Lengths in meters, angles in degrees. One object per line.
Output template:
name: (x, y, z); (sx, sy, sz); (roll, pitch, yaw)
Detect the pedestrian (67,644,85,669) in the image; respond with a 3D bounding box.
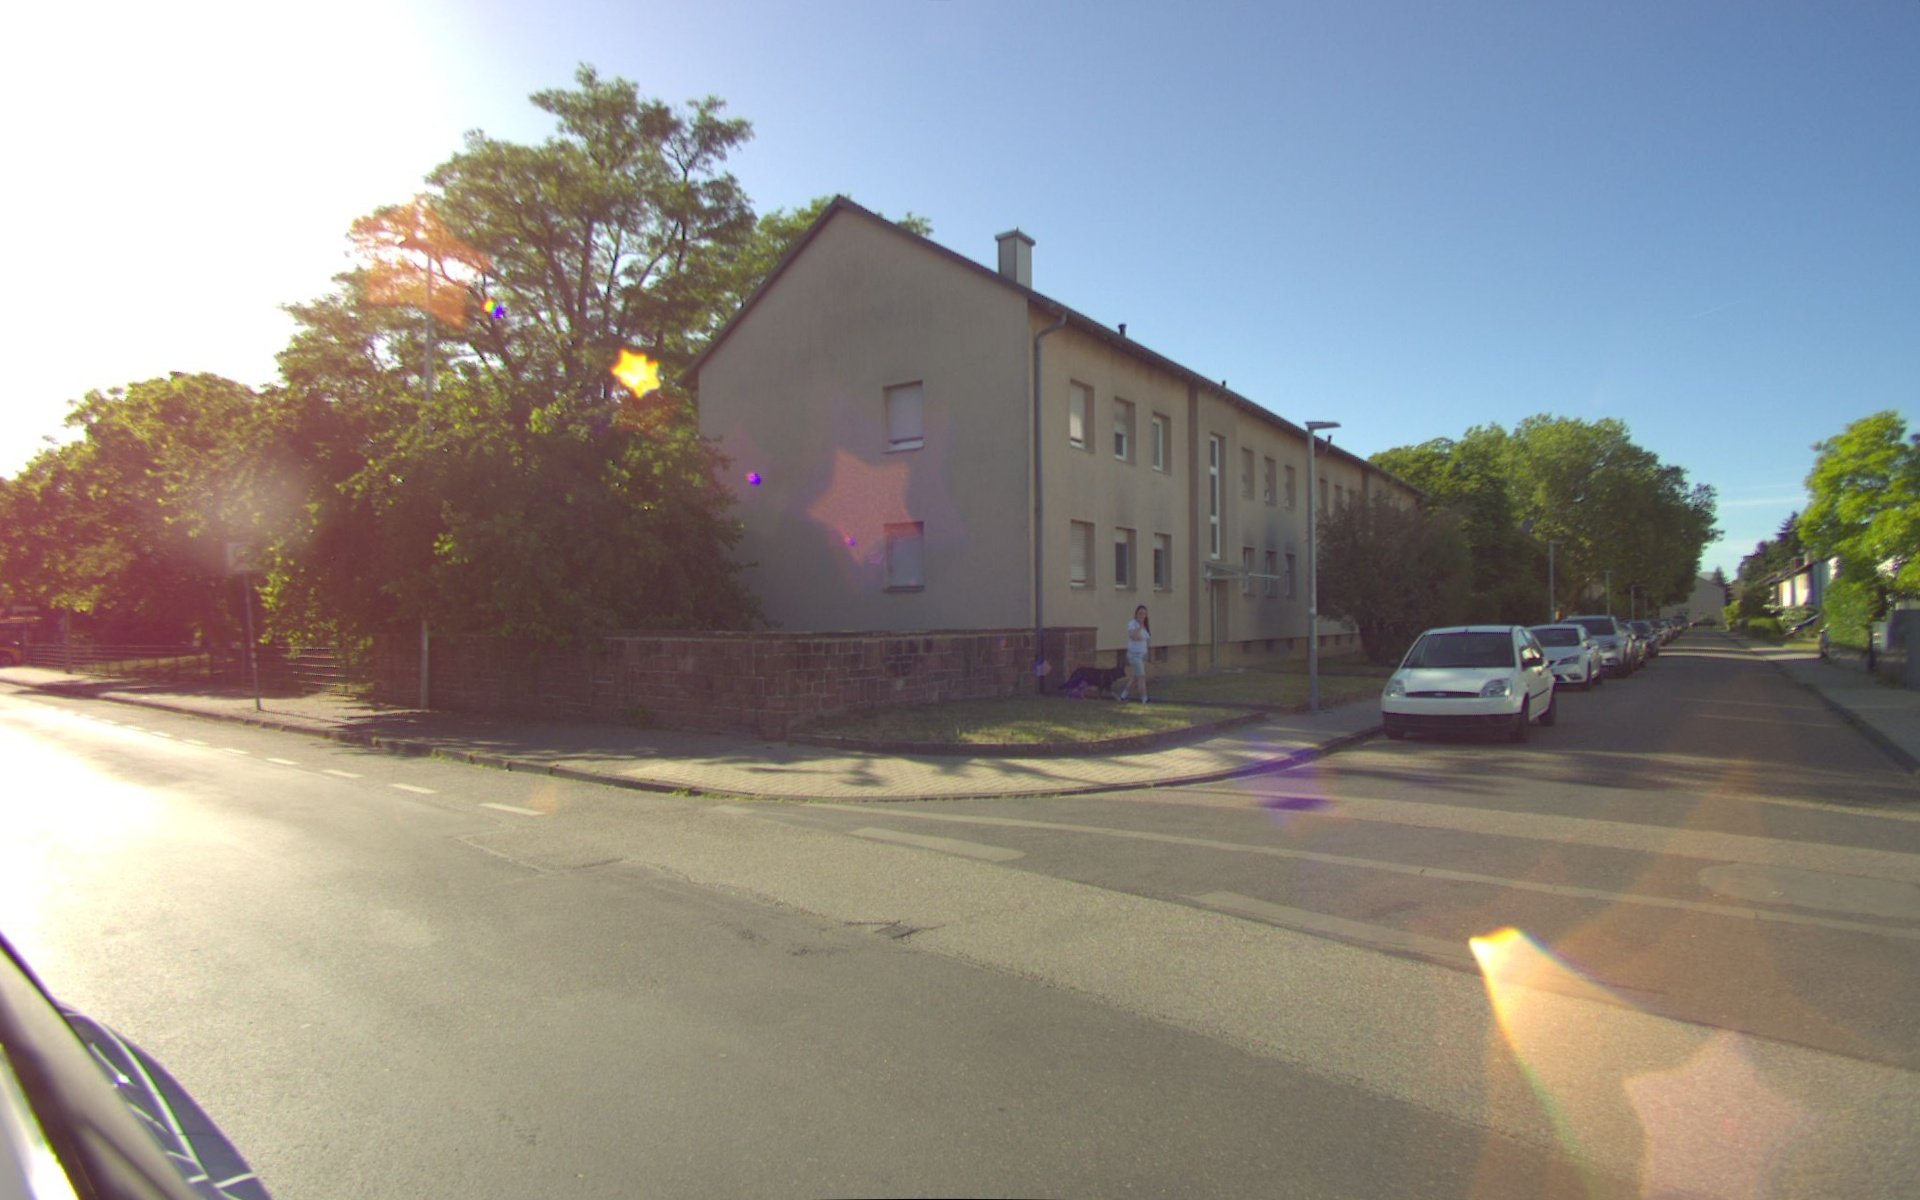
pedestrian: (-60.393, 3.881, 69.127); (0.647, 1.646, 0.790); (-4, -1, 40)

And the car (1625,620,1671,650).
car: (39.797, 2.010, 58.520); (1.868, 1.626, 3.730); (-4, -3, 38)

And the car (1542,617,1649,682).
car: (17.148, 1.306, 27.231); (1.869, 1.626, 3.728); (-4, -3, 40)

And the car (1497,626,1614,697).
car: (13.405, 1.339, 22.686); (1.867, 1.407, 3.733); (-4, -3, 36)

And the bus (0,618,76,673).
bus: (-61.207, 2.962, 60.673); (12.271, 3.122, 3.139); (-3, -1, -14)

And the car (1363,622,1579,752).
car: (7.011, 1.080, 13.697); (1.868, 1.490, 3.730); (-4, -3, 38)

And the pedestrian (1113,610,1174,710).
pedestrian: (3.011, 0.970, 16.585); (0.638, 1.565, 0.776); (-3, -1, 36)

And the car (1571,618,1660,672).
car: (20.999, 1.417, 32.380); (1.869, 1.626, 3.728); (-4, -3, 40)
